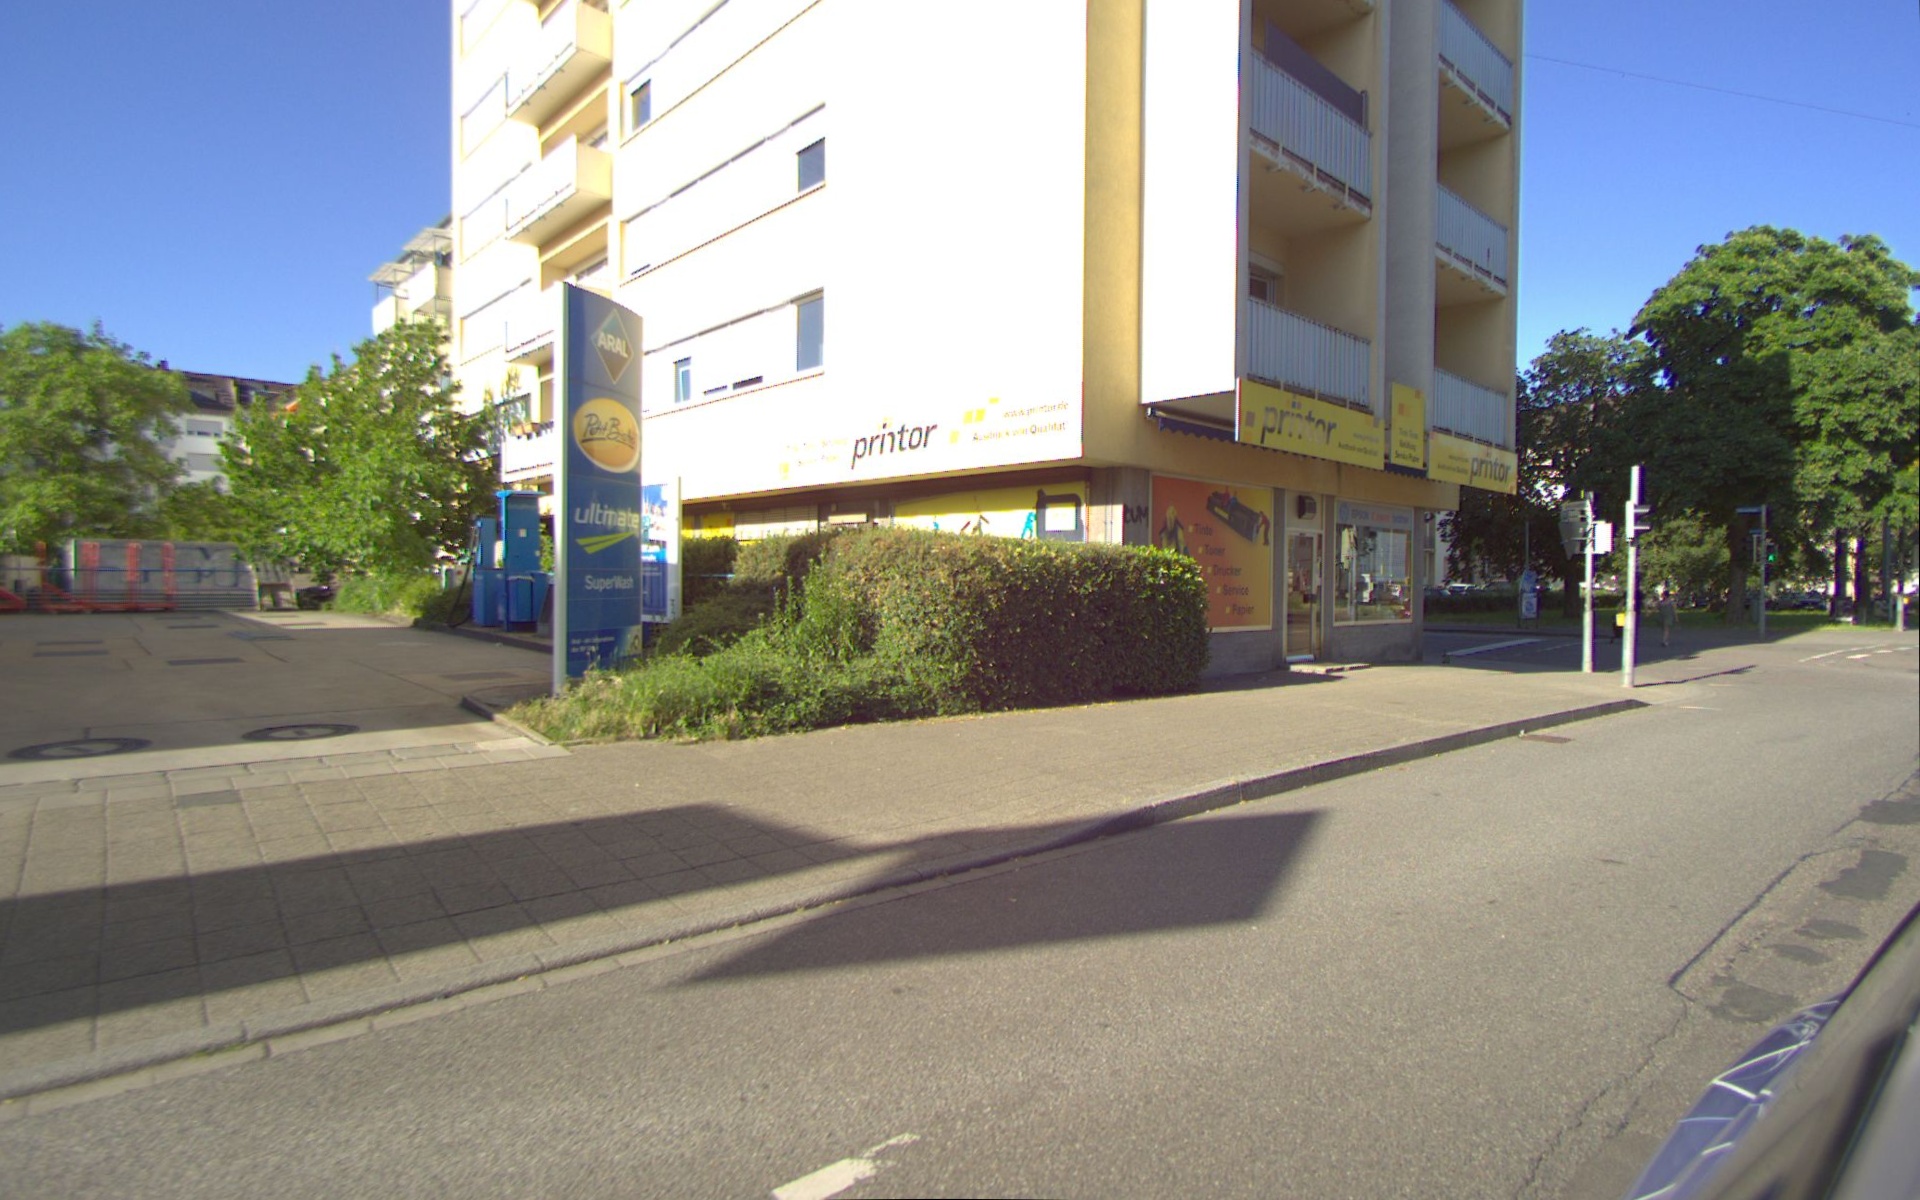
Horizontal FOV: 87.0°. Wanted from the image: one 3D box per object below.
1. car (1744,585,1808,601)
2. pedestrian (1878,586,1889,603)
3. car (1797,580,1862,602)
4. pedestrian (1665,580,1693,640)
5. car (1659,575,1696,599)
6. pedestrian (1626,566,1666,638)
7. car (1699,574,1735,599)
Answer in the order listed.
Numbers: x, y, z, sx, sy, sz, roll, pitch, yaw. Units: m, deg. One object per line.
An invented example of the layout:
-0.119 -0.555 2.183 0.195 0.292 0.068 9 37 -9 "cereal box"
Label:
55.086 -0.486 68.311 4.192 1.080 2.002 0 1 -31 "car"
58.321 -0.350 63.896 0.602 1.092 0.459 0 1 -41 "pedestrian"
56.577 -0.603 65.834 4.192 1.340 2.002 0 1 -31 "car"
19.112 0.254 26.906 0.501 1.565 0.513 3 3 33 "pedestrian"
53.042 -0.984 74.887 1.985 1.720 4.227 1 1 33 "car"
18.449 0.036 27.244 0.784 1.850 1.022 3 3 32 "pedestrian"
54.235 -0.959 72.530 1.988 1.720 4.222 1 1 36 "car"
